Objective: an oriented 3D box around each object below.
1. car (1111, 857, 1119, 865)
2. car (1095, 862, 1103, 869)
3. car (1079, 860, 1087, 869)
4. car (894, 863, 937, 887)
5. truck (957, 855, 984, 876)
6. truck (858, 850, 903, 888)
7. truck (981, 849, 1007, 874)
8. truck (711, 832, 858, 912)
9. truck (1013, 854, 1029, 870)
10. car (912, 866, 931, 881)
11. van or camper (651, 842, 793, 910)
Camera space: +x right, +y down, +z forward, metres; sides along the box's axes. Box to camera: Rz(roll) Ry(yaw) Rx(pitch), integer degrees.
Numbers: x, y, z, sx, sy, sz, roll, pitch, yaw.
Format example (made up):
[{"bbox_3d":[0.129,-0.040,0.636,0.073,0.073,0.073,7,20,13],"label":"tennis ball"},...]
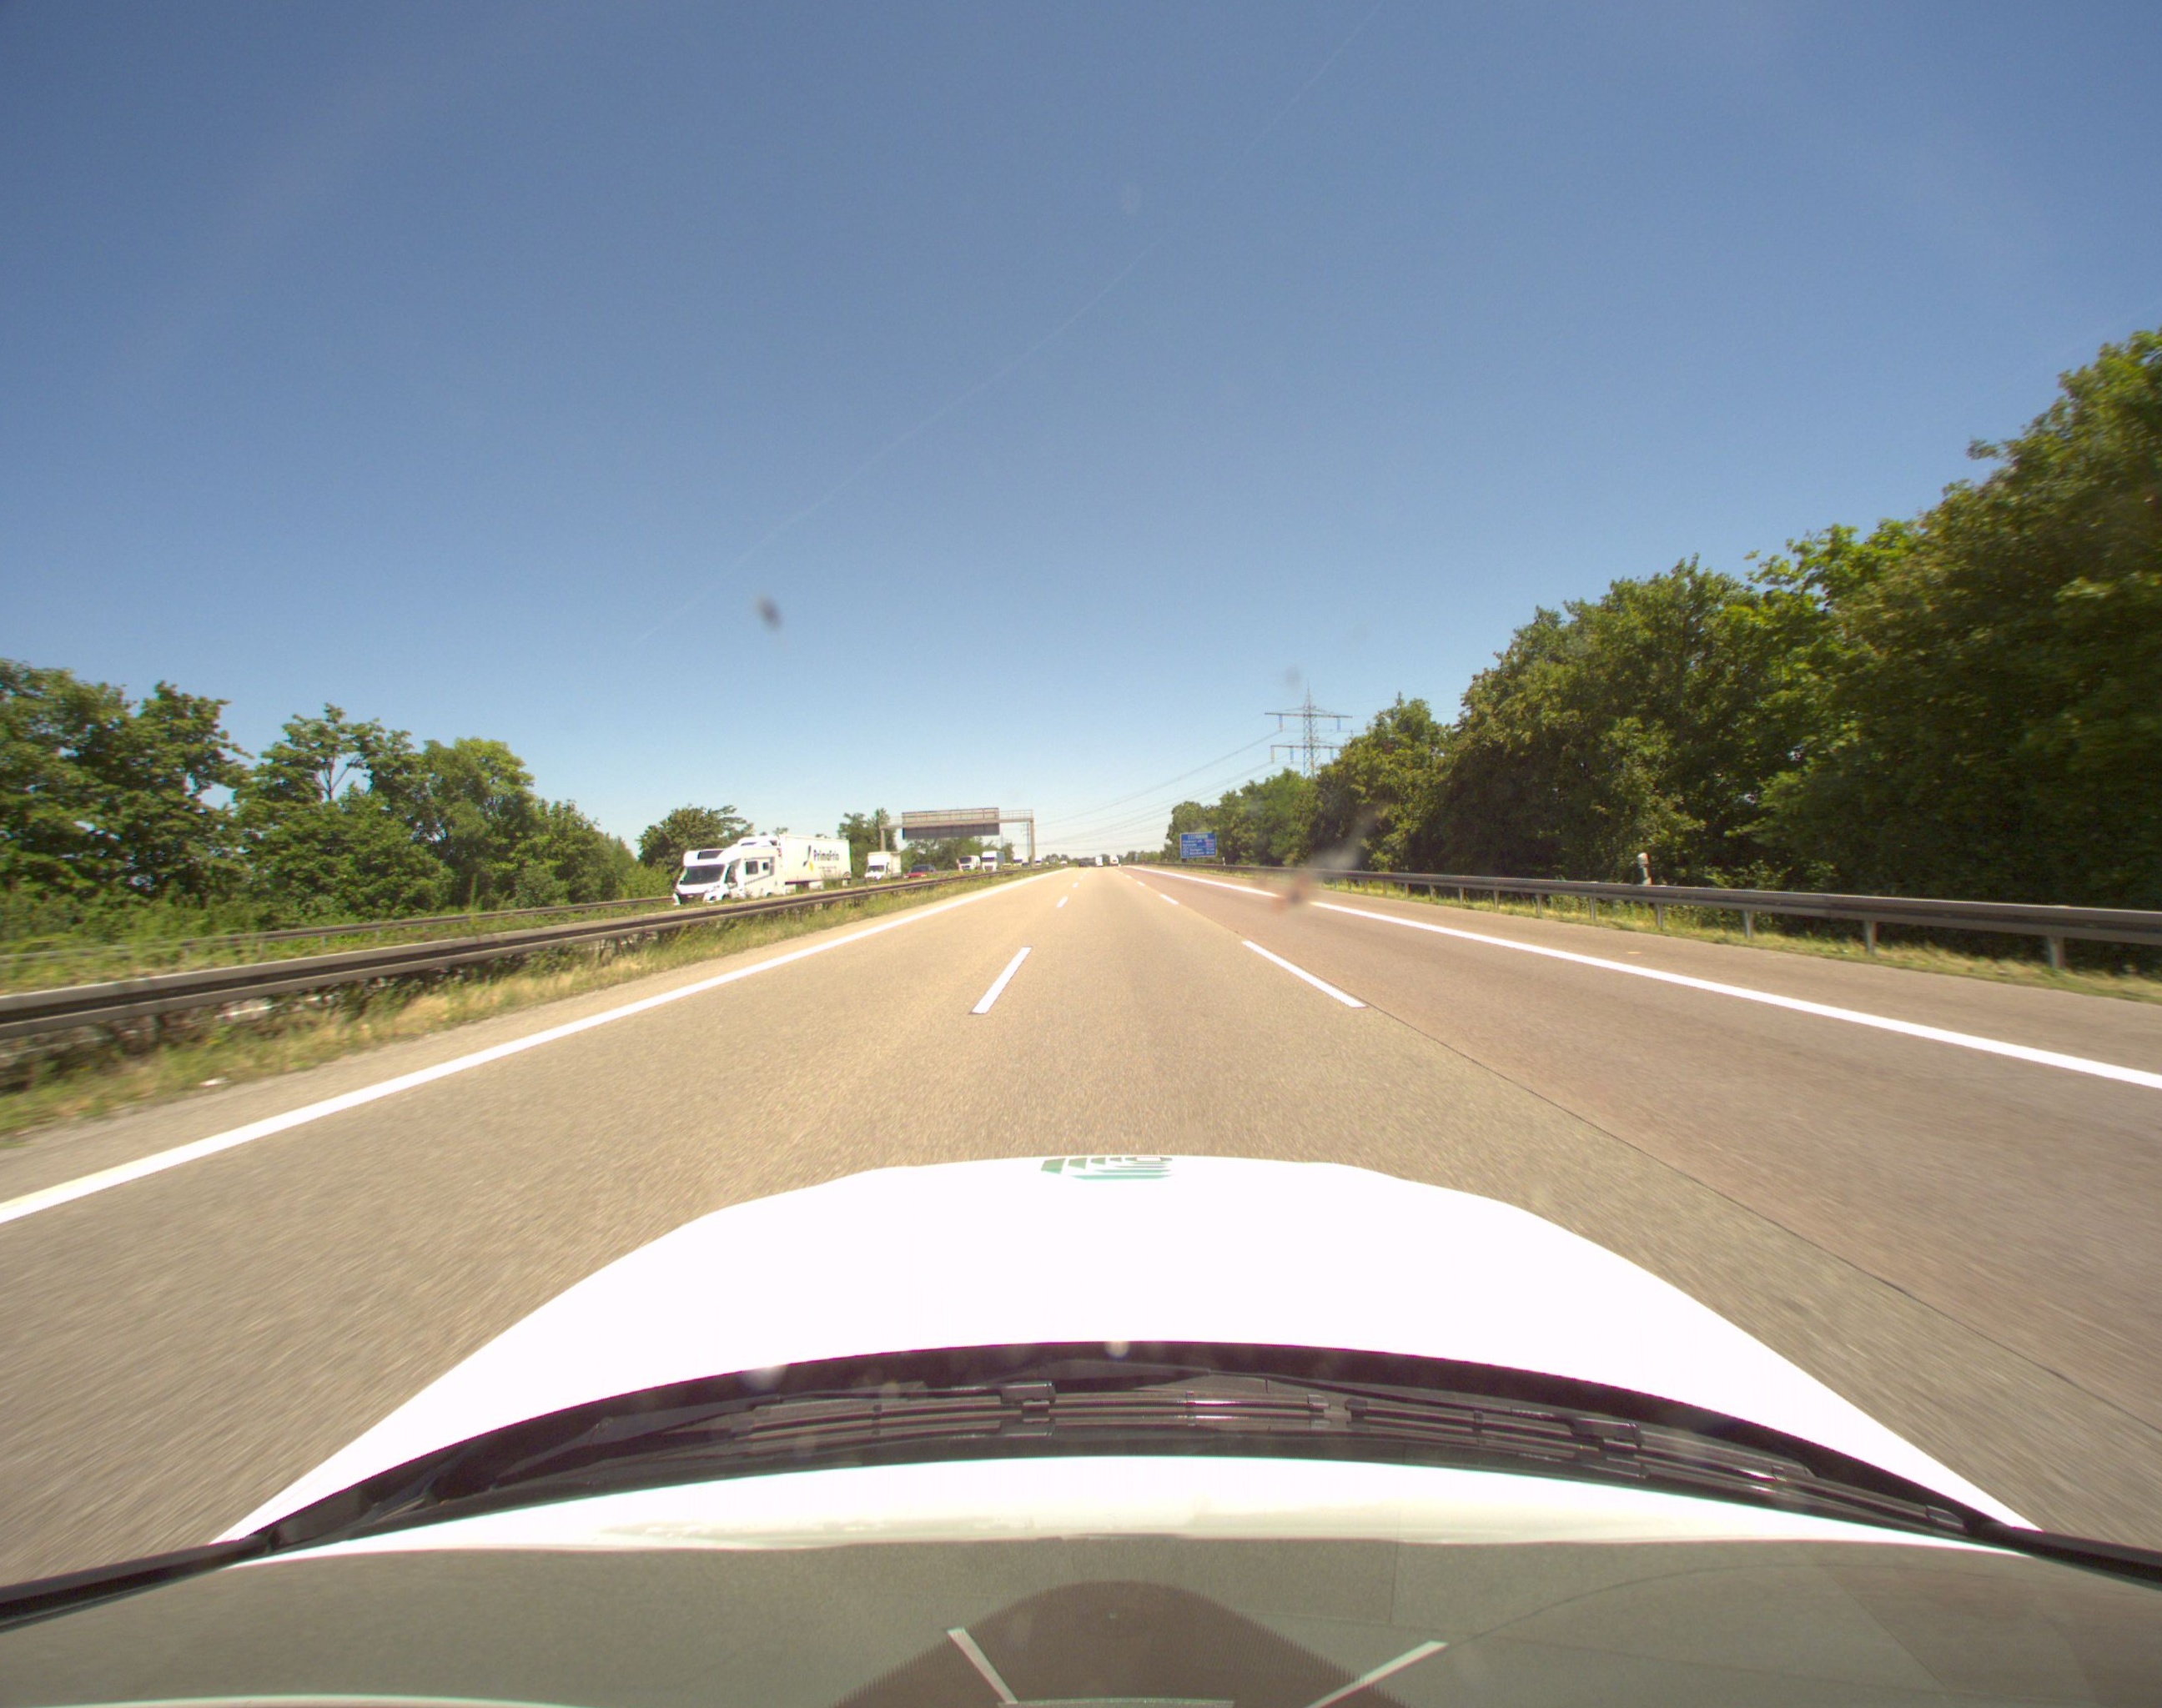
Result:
[{"bbox_3d":[8.778,1.812,210.676,1.987,2.013,4.000,-3,-1,1],"label":"car"},{"bbox_3d":[5.387,3.381,243.027,2.167,1.929,4.617,-3,-1,5],"label":"car"},{"bbox_3d":[0.440,2.392,185.797,1.785,2.013,3.889,-1,0,1],"label":"car"},{"bbox_3d":[-11.287,1.399,55.649,1.986,1.519,4.001,-2,0,1],"label":"car"},{"bbox_3d":[-17.756,1.831,131.284,2.702,3.208,8.926,-2,-1,1],"label":"truck"},{"bbox_3d":[-19.685,1.423,80.408,2.361,3.465,7.424,-2,0,1],"label":"truck"},{"bbox_3d":[-16.848,1.449,158.585,2.702,4.389,17.329,-2,-1,1],"label":"truck"},{"bbox_3d":[-19.669,1.070,56.184,3.205,4.377,17.194,-5,0,1],"label":"truck"},{"bbox_3d":[-16.219,2.214,221.394,2.951,4.091,17.027,-2,-1,0],"label":"truck"},{"bbox_3d":[-22.153,2.694,113.090,1.926,1.816,3.997,-3,0,-2],"label":"car"},{"bbox_3d":[-15.608,0.880,36.178,2.458,2.560,7.813,-3,0,3],"label":"van or camper"}]
